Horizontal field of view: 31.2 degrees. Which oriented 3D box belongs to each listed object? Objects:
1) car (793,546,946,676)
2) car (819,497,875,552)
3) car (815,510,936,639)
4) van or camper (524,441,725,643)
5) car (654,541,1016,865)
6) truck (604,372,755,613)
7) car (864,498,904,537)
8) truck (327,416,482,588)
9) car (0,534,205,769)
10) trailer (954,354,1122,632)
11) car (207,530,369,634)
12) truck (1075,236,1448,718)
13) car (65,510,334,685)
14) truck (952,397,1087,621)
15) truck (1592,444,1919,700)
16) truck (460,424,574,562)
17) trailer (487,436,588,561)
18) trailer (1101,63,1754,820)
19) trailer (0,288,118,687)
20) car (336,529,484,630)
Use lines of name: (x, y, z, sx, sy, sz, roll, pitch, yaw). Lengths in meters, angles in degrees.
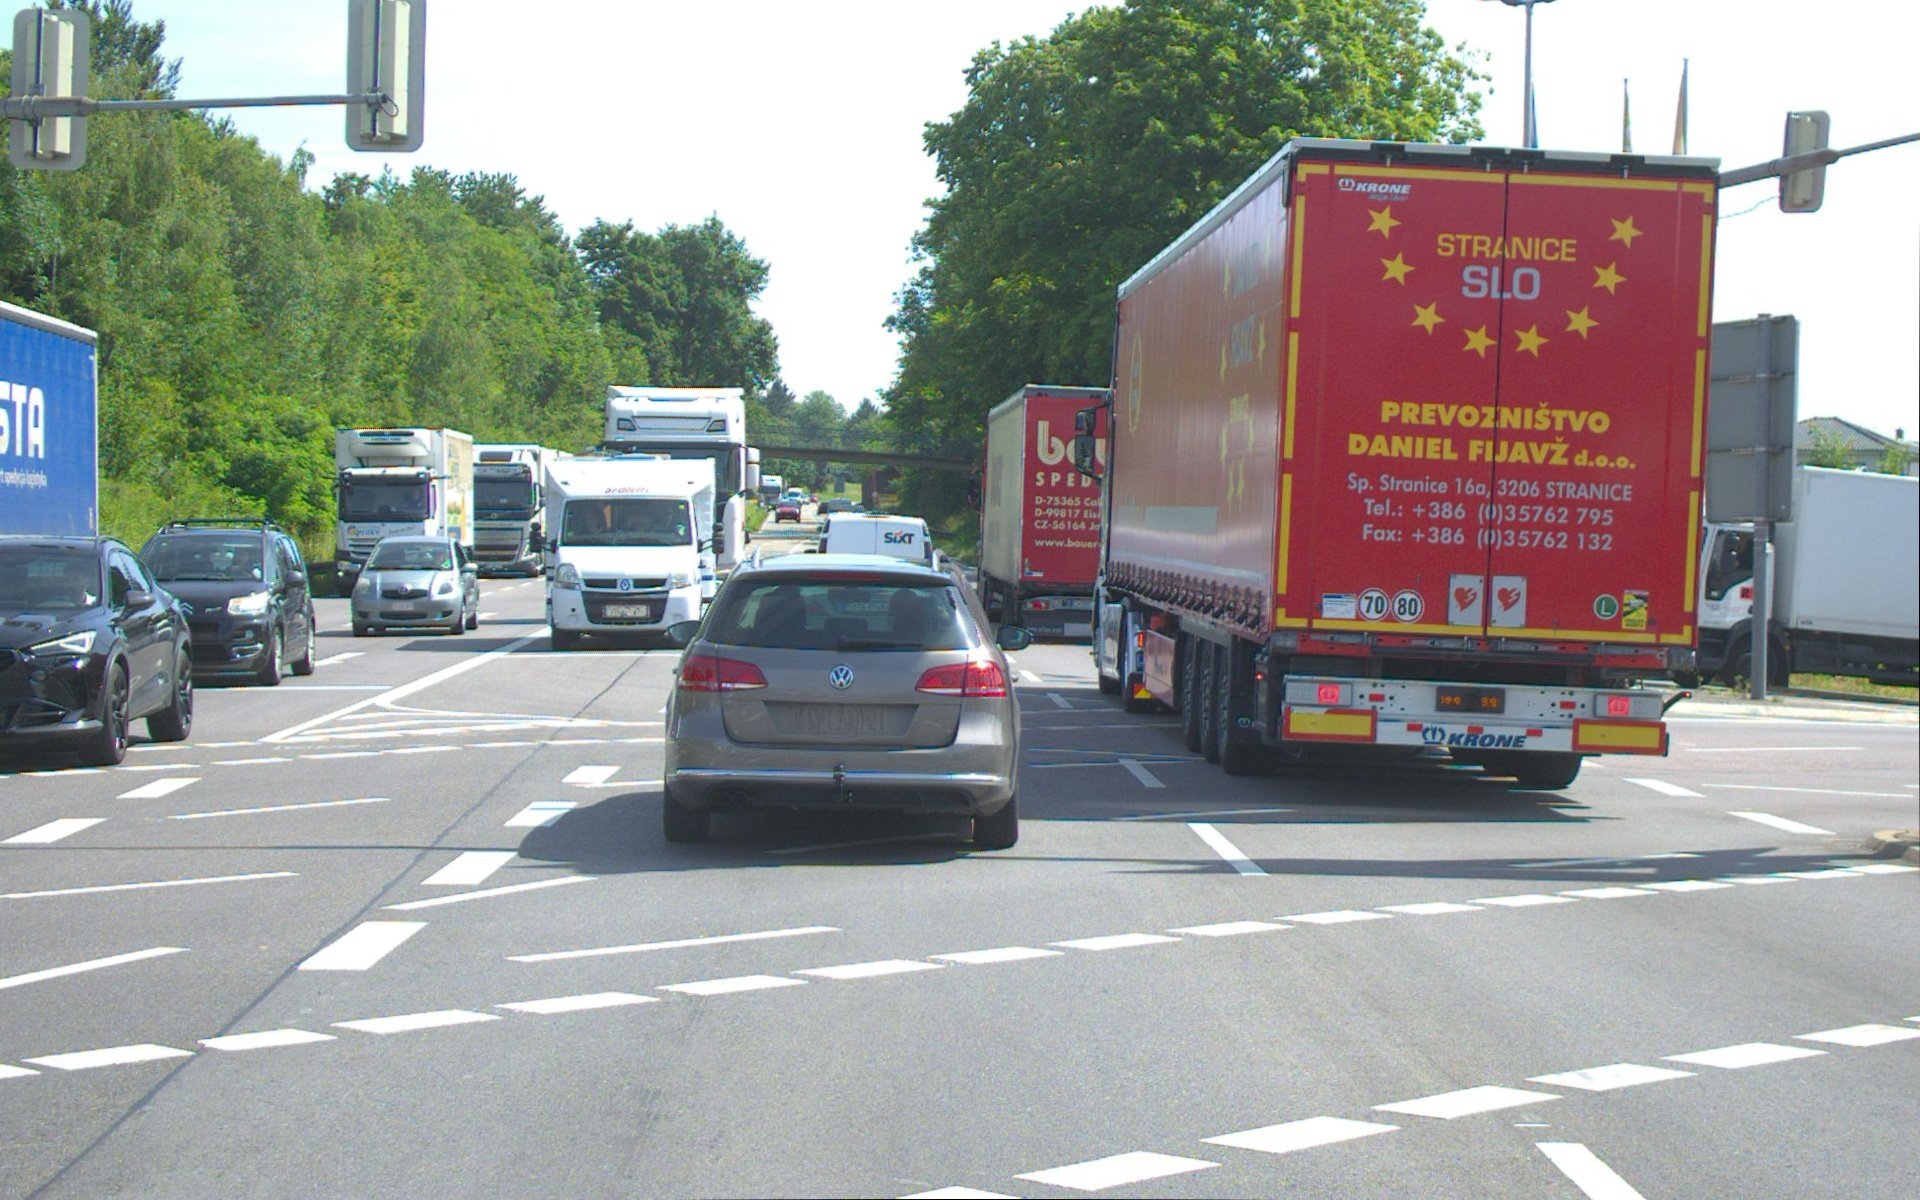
car: (-1.161, 0.101, 42.477, 1.770, 1.508, 4.001, 0, 1, -3)
car: (-4.227, -2.808, 127.845, 1.993, 2.007, 4.001, 0, 1, -3)
car: (-1.360, -0.422, 53.773, 1.770, 1.930, 3.978, 0, 1, -3)
van or camper: (-4.566, -0.812, 47.866, 2.330, 2.591, 6.979, 0, 1, -2)
car: (-0.688, 0.450, 18.080, 1.691, 1.508, 4.001, 0, 1, -3)
truck: (-4.959, -1.882, 61.441, 2.536, 4.074, 6.267, 0, 1, -4)
car: (-4.010, -4.334, 180.509, 1.993, 2.007, 4.001, 0, 1, -3)
truck: (-13.523, -2.356, 84.391, 2.728, 3.985, 9.621, 0, 1, -3)
car: (-6.537, 0.286, 23.903, 1.993, 1.480, 4.455, 0, 1, -5)
trailer: (1.174, -1.748, 58.952, 2.395, 4.229, 13.079, 0, 1, -1)
car: (-11.242, -0.329, 57.802, 1.993, 1.671, 4.308, 0, 1, -2)
truck: (2.834, -1.167, 34.141, 2.870, 4.266, 5.839, 2, 1, -2)
car: (-7.857, -0.065, 35.869, 1.993, 1.720, 4.000, 0, 1, -1)
truck: (1.081, -1.719, 65.831, 2.406, 4.113, 5.521, 0, 1, -1)
truck: (15.366, -0.212, 55.732, 9.667, 3.616, 2.768, 5, -1, -18)
truck: (-13.712, -3.267, 107.077, 2.829, 4.102, 9.684, 0, 1, -3)
trailer: (-14.228, -3.400, 116.308, 2.840, 4.055, 8.757, 0, 1, -3)
trailer: (3.021, -1.052, 26.830, 2.839, 4.350, 13.169, 2, 1, -1)
trailer: (-11.292, -1.136, 34.094, 3.093, 4.065, 14.129, 0, 1, -3)
car: (-8.490, -0.339, 53.304, 1.725, 1.497, 4.000, 0, 1, -1)
